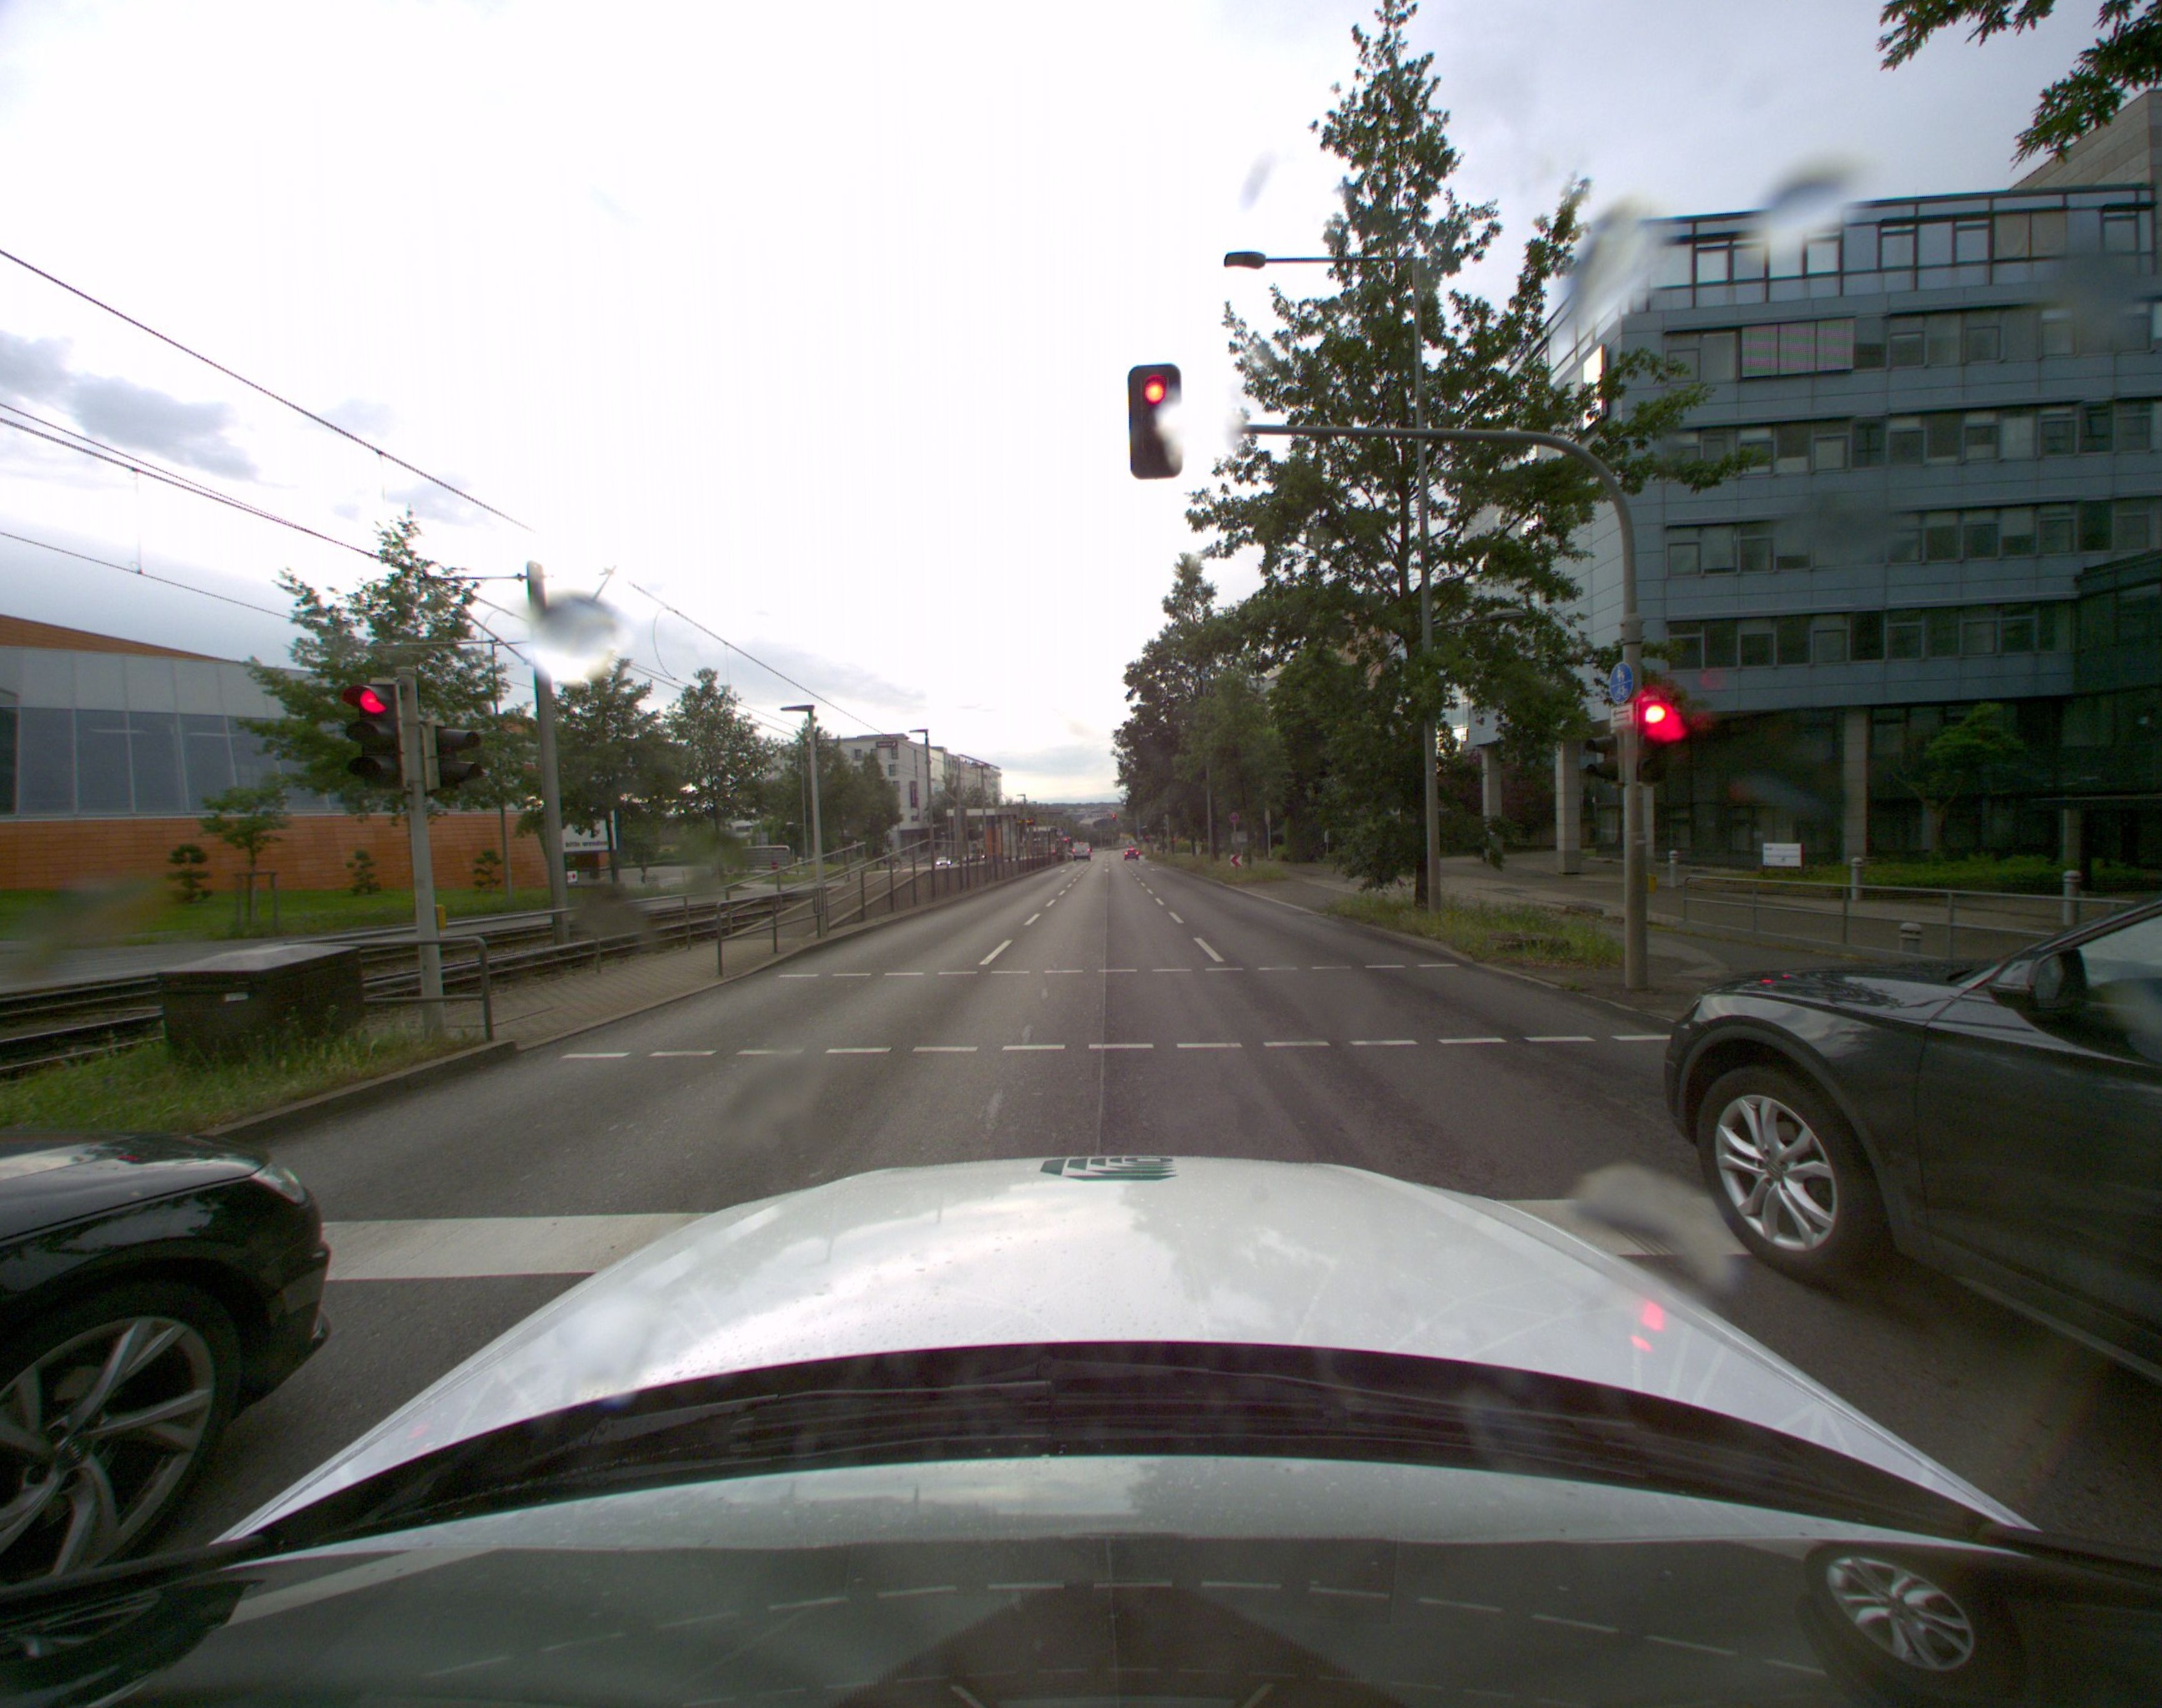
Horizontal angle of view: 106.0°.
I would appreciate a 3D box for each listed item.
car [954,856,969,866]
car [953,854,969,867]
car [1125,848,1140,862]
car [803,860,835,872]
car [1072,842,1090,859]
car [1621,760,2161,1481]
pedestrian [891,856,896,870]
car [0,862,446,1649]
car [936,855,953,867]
[{"bbox_3d":[-16.856,0.956,114.926,1.562,1.378,3.518,-2,0,0],"label":"car"},{"bbox_3d":[-15.215,0.834,103.081,1.651,1.436,3.865,-4,0,-11],"label":"car"},{"bbox_3d":[6.470,0.065,102.824,1.767,1.691,3.847,-1,0,2],"label":"car"},{"bbox_3d":[-31.180,1.443,97.009,3.341,1.387,1.440,-1,0,18],"label":"car"},{"bbox_3d":[-0.026,-0.453,102.571,2.085,2.053,4.608,-1,0,2],"label":"car"},{"bbox_3d":[3.299,0.580,1.436,1.811,1.612,4.472,-1,0,2],"label":"car"},{"bbox_3d":[-25.020,1.225,108.478,0.473,1.920,0.490,-1,0,1],"label":"pedestrian"},{"bbox_3d":[-2.969,0.787,0.321,1.774,1.466,4.515,-1,0,2],"label":"car"},{"bbox_3d":[-18.110,0.931,108.256,1.646,1.436,3.878,-4,0,-1],"label":"car"}]
